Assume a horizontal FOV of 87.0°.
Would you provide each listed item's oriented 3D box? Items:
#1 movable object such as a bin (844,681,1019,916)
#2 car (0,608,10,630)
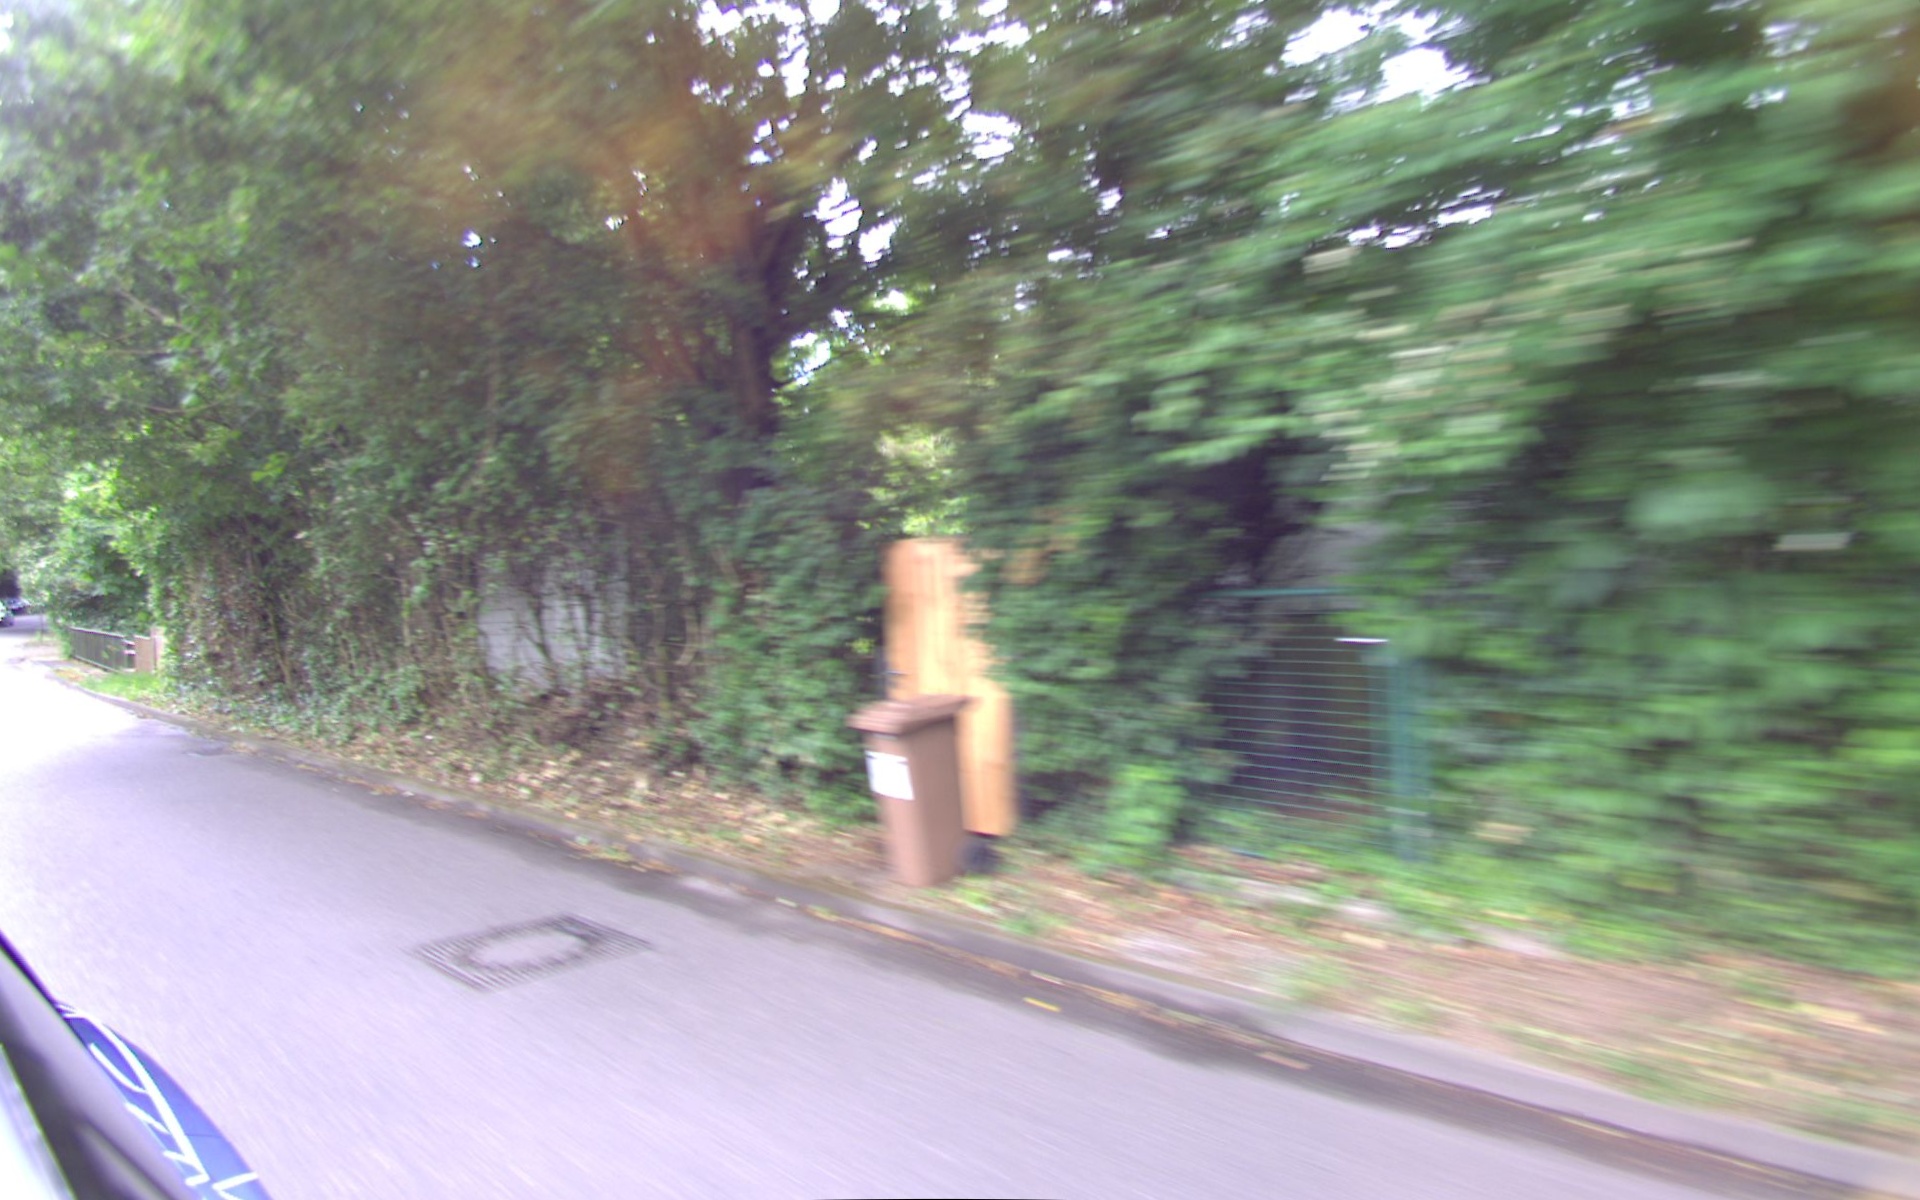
[{"bbox_3d":[-0.151,0.949,5.112,0.640,1.020,0.633,0,-1,-34],"label":"movable object such as a bin"},{"bbox_3d":[-68.321,1.357,71.022,1.967,1.541,4.009,0,-1,-37],"label":"car"}]
